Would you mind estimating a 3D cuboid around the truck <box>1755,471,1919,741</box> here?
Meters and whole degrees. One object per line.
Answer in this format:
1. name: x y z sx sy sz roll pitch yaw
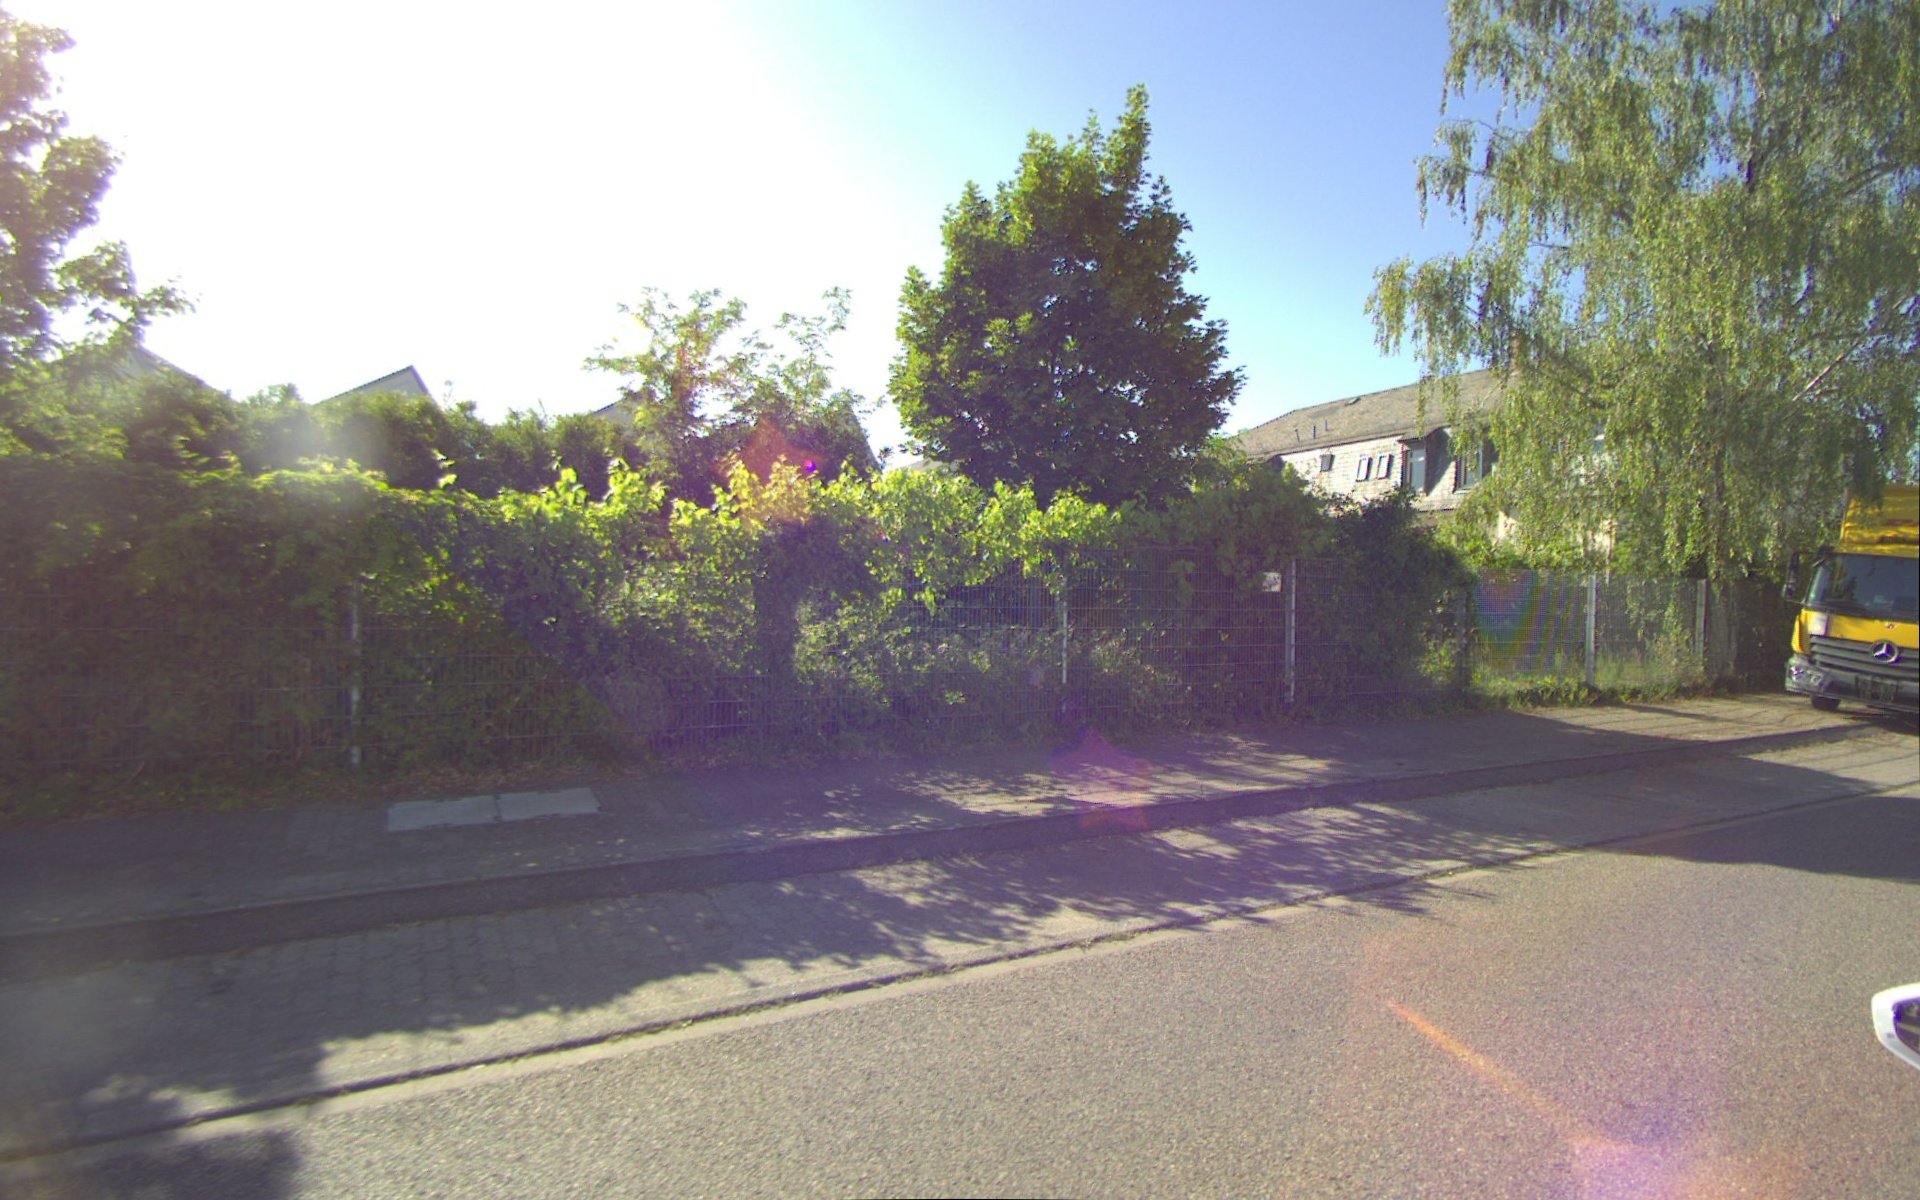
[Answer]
1. truck: 16.263 0.039 15.785 8.553 3.553 2.618 0 7 -30
